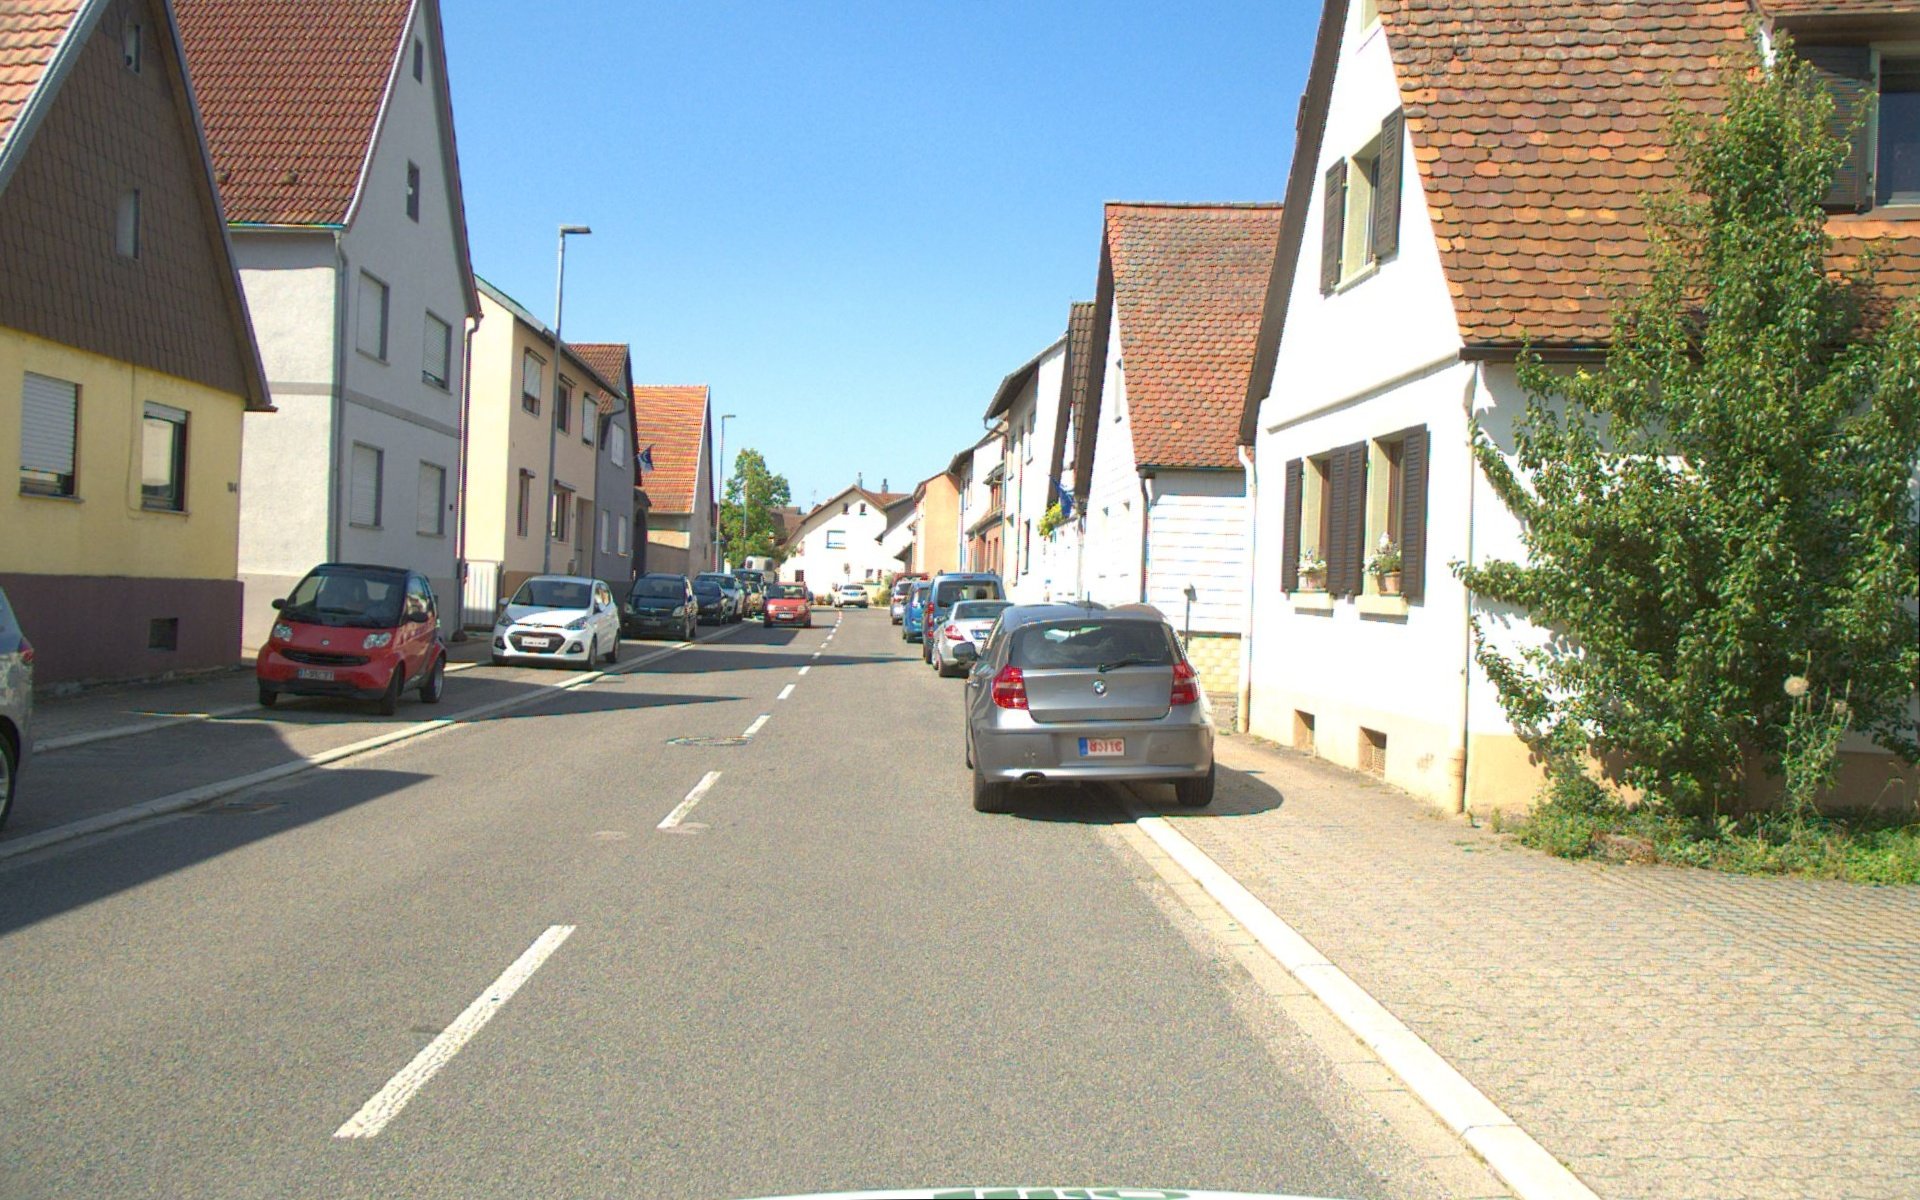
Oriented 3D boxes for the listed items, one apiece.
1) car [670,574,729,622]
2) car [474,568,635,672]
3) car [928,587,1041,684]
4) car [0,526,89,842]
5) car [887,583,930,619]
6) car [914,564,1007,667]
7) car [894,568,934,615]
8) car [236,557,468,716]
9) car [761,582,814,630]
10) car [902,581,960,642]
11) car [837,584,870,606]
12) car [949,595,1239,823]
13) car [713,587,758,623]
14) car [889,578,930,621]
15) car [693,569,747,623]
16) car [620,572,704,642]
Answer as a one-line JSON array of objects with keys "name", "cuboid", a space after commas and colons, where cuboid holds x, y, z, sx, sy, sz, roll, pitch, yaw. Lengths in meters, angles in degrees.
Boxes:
[{"name": "car", "cuboid": [-8.458, -0.055, 53.968, 1.474, 1.478, 3.507, 2, 0, -3]}, {"name": "car", "cuboid": [-6.935, 0.311, 28.723, 1.770, 1.574, 4.402, 3, 0, -2]}, {"name": "car", "cuboid": [0.375, 0.579, 29.173, 1.671, 1.522, 3.450, 3, 0, -4]}, {"name": "car", "cuboid": [-5.895, 0.401, 7.156, 1.835, 1.665, 4.662, 3, 0, -2]}, {"name": "car", "cuboid": [-2.211, 0.041, 70.544, 1.731, 1.458, 3.448, 2, 0, -2]}, {"name": "car", "cuboid": [-0.039, 0.298, 34.215, 1.617, 1.943, 3.623, 3, 0, -4]}, {"name": "car", "cuboid": [-2.126, -0.371, 75.896, 1.731, 2.039, 3.448, 2, 0, -2]}, {"name": "car", "cuboid": [-6.743, 0.376, 18.639, 1.521, 1.571, 2.986, 3, 0, -2]}, {"name": "car", "cuboid": [-5.912, 0.204, 56.962, 1.569, 1.515, 3.623, 3, 0, -4]}, {"name": "car", "cuboid": [-0.821, 0.305, 45.319, 1.392, 1.541, 3.301, 3, 0, -4]}, {"name": "car", "cuboid": [-6.623, -0.313, 103.266, 1.954, 1.311, 3.997, 2, 0, -3]}, {"name": "car", "cuboid": [0.860, 0.697, 12.673, 1.671, 1.458, 3.886, 0, 0, -4]}, {"name": "car", "cuboid": [-9.220, 0.186, 68.022, 1.497, 1.379, 3.623, 3, 0, -4]}, {"name": "car", "cuboid": [-1.936, -0.023, 62.733, 1.392, 1.541, 3.301, 3, 0, -4]}, {"name": "car", "cuboid": [-8.441, -0.145, 58.388, 1.497, 1.743, 3.623, 3, 0, -4]}, {"name": "car", "cuboid": [-7.558, 0.168, 42.178, 1.587, 1.605, 3.958, 3, 0, -4]}]
